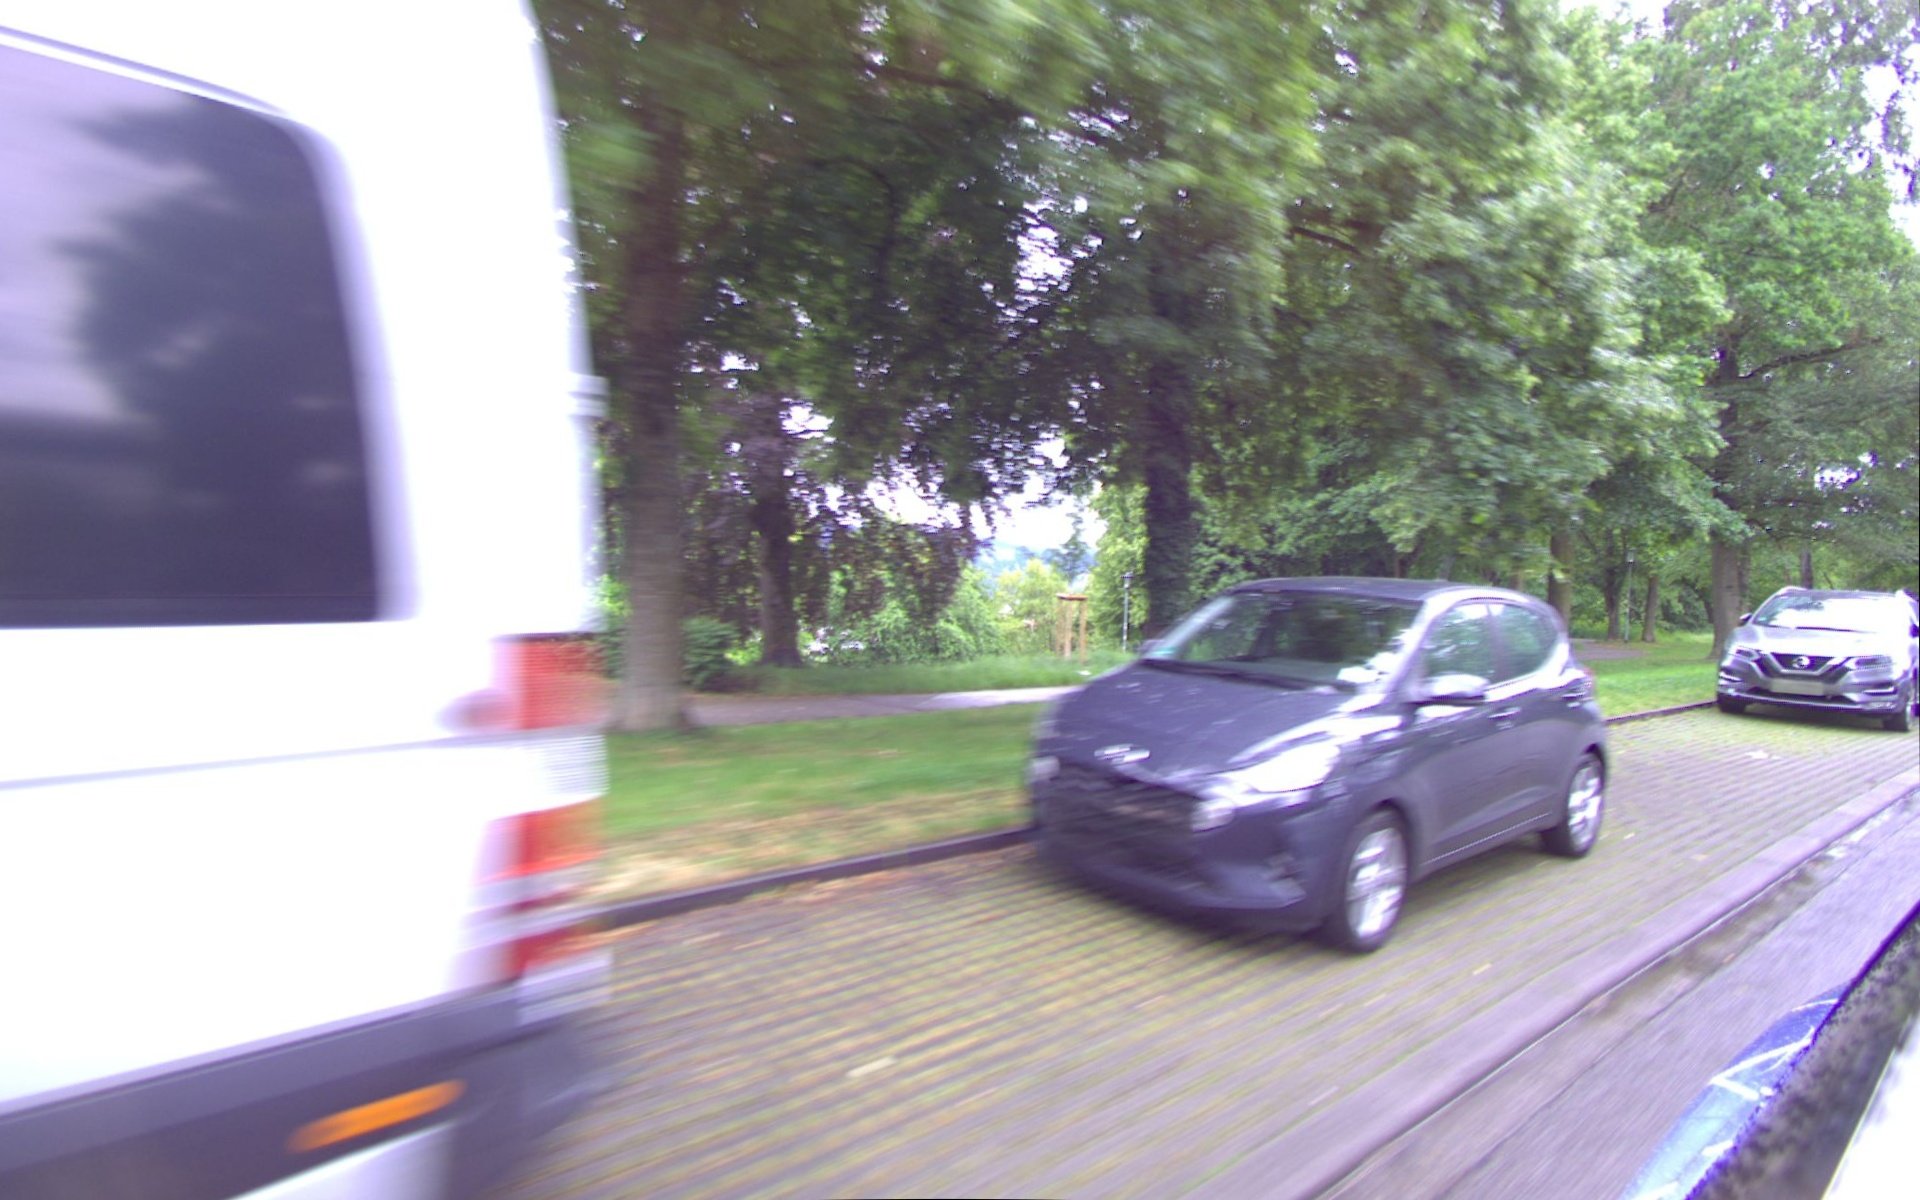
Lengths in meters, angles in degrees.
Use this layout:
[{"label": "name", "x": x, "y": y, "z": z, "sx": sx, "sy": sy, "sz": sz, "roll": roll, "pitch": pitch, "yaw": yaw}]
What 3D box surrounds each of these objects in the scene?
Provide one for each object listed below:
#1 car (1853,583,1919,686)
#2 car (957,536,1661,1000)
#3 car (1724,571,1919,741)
[{"label": "car", "x": 16.407, "y": 0.640, "z": 16.501, "sx": 3.924, "sy": 1.468, "sz": 1.752, "roll": 2, "pitch": 7, "yaw": -36}, {"label": "car", "x": 1.995, "y": 0.549, "z": 5.293, "sx": 3.659, "sy": 1.530, "sz": 1.869, "roll": 1, "pitch": 2, "yaw": -41}, {"label": "car", "x": 11.241, "y": 0.728, "z": 12.777, "sx": 4.188, "sy": 1.741, "sz": 1.784, "roll": 5, "pitch": 0, "yaw": -43}]
